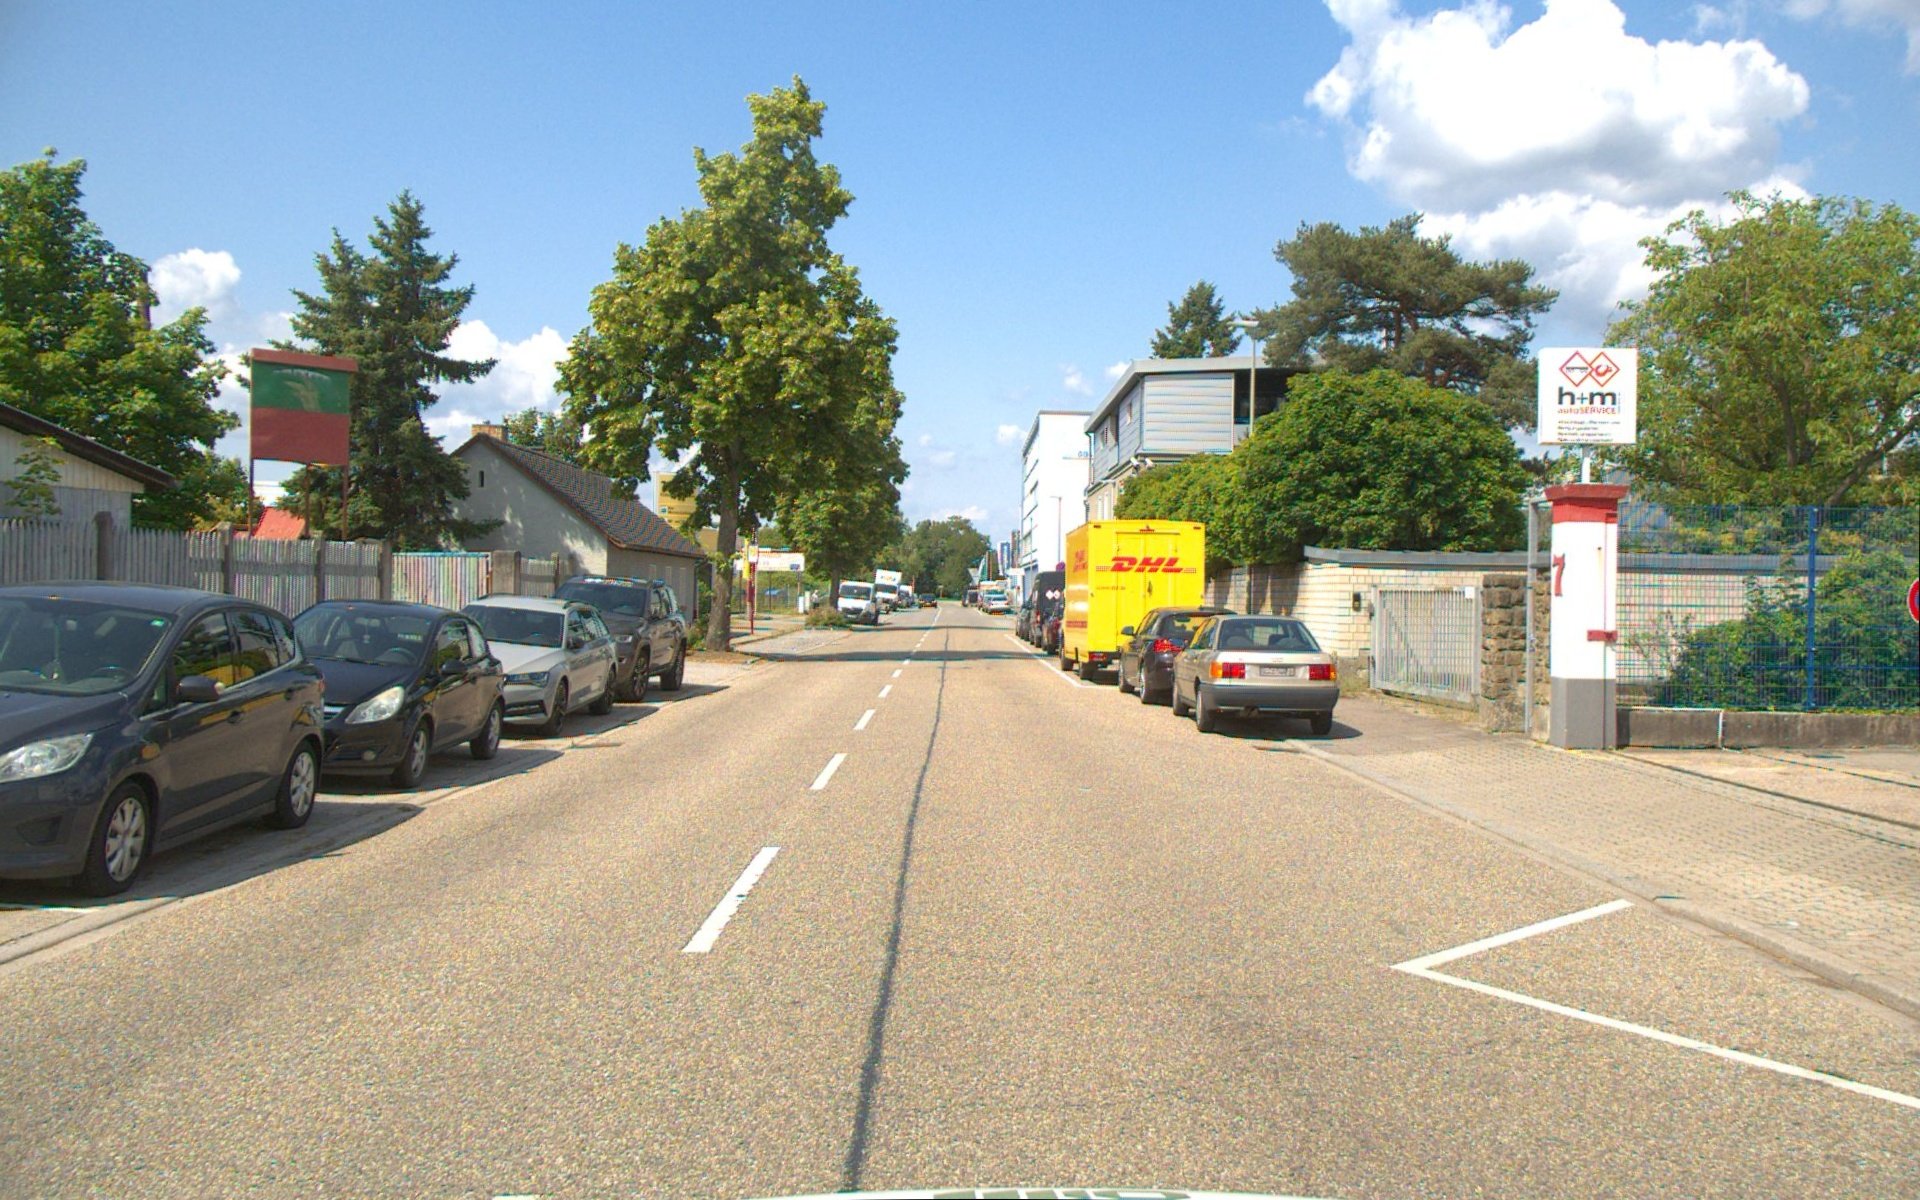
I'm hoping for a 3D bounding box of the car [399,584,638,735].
[{"bbox_3d":[-5.358,0.641,20.697,1.698,1.544,4.742,3,1,-1],"label":"car"}]

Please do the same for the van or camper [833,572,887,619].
[{"bbox_3d":[-5.551,-0.283,92.554,2.128,2.455,7.700,1,1,3],"label":"van or camper"}]

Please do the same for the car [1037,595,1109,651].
[{"bbox_3d":[3.148,0.609,46.888,1.647,1.467,4.766,2,0,0],"label":"car"}]

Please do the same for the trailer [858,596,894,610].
[{"bbox_3d":[-6.229,0.199,123.070,2.368,0.827,5.537,3,1,0],"label":"trailer"}]

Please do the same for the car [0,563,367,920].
[{"bbox_3d":[-5.250,0.642,10.105,1.690,1.632,4.413,4,0,-2],"label":"car"}]

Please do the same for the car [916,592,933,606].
[{"bbox_3d":[-3.543,-0.146,165.460,1.621,1.348,4.416,1,1,0],"label":"car"}]

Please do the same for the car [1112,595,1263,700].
[{"bbox_3d":[3.461,0.677,25.876,1.628,1.466,4.282,1,0,-2],"label":"car"}]

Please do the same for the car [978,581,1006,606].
[{"bbox_3d":[2.666,-0.602,138.982,2.171,2.049,5.485,1,1,0],"label":"car"}]

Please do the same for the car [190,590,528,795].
[{"bbox_3d":[-5.279,0.719,15.099,1.595,1.473,4.026,5,0,-2],"label":"car"}]

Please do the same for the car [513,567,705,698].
[{"bbox_3d":[-5.423,0.448,26.195,1.879,1.854,4.786,1,0,2],"label":"car"}]

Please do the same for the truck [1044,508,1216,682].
[{"bbox_3d":[3.195,-0.125,32.843,2.424,2.991,7.187,2,0,-1],"label":"truck"}]

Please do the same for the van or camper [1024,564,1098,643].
[{"bbox_3d":[3.187,0.083,53.255,1.953,2.331,5.447,2,0,0],"label":"van or camper"}]

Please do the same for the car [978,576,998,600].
[{"bbox_3d":[2.515,-1.065,149.362,1.672,2.126,3.999,1,1,-1],"label":"car"}]

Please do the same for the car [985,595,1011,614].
[{"bbox_3d":[2.858,0.338,125.194,1.889,1.333,4.000,1,1,0],"label":"car"}]

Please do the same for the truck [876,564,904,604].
[{"bbox_3d":[-5.785,-1.295,136.986,1.988,3.209,6.500,1,1,0],"label":"truck"}]

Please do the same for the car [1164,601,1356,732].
[{"bbox_3d":[3.715,0.768,21.202,1.618,1.411,4.422,2,0,0],"label":"car"}]

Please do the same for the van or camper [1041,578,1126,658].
[{"bbox_3d":[3.044,0.412,41.813,1.723,1.837,5.587,2,0,0],"label":"van or camper"}]
